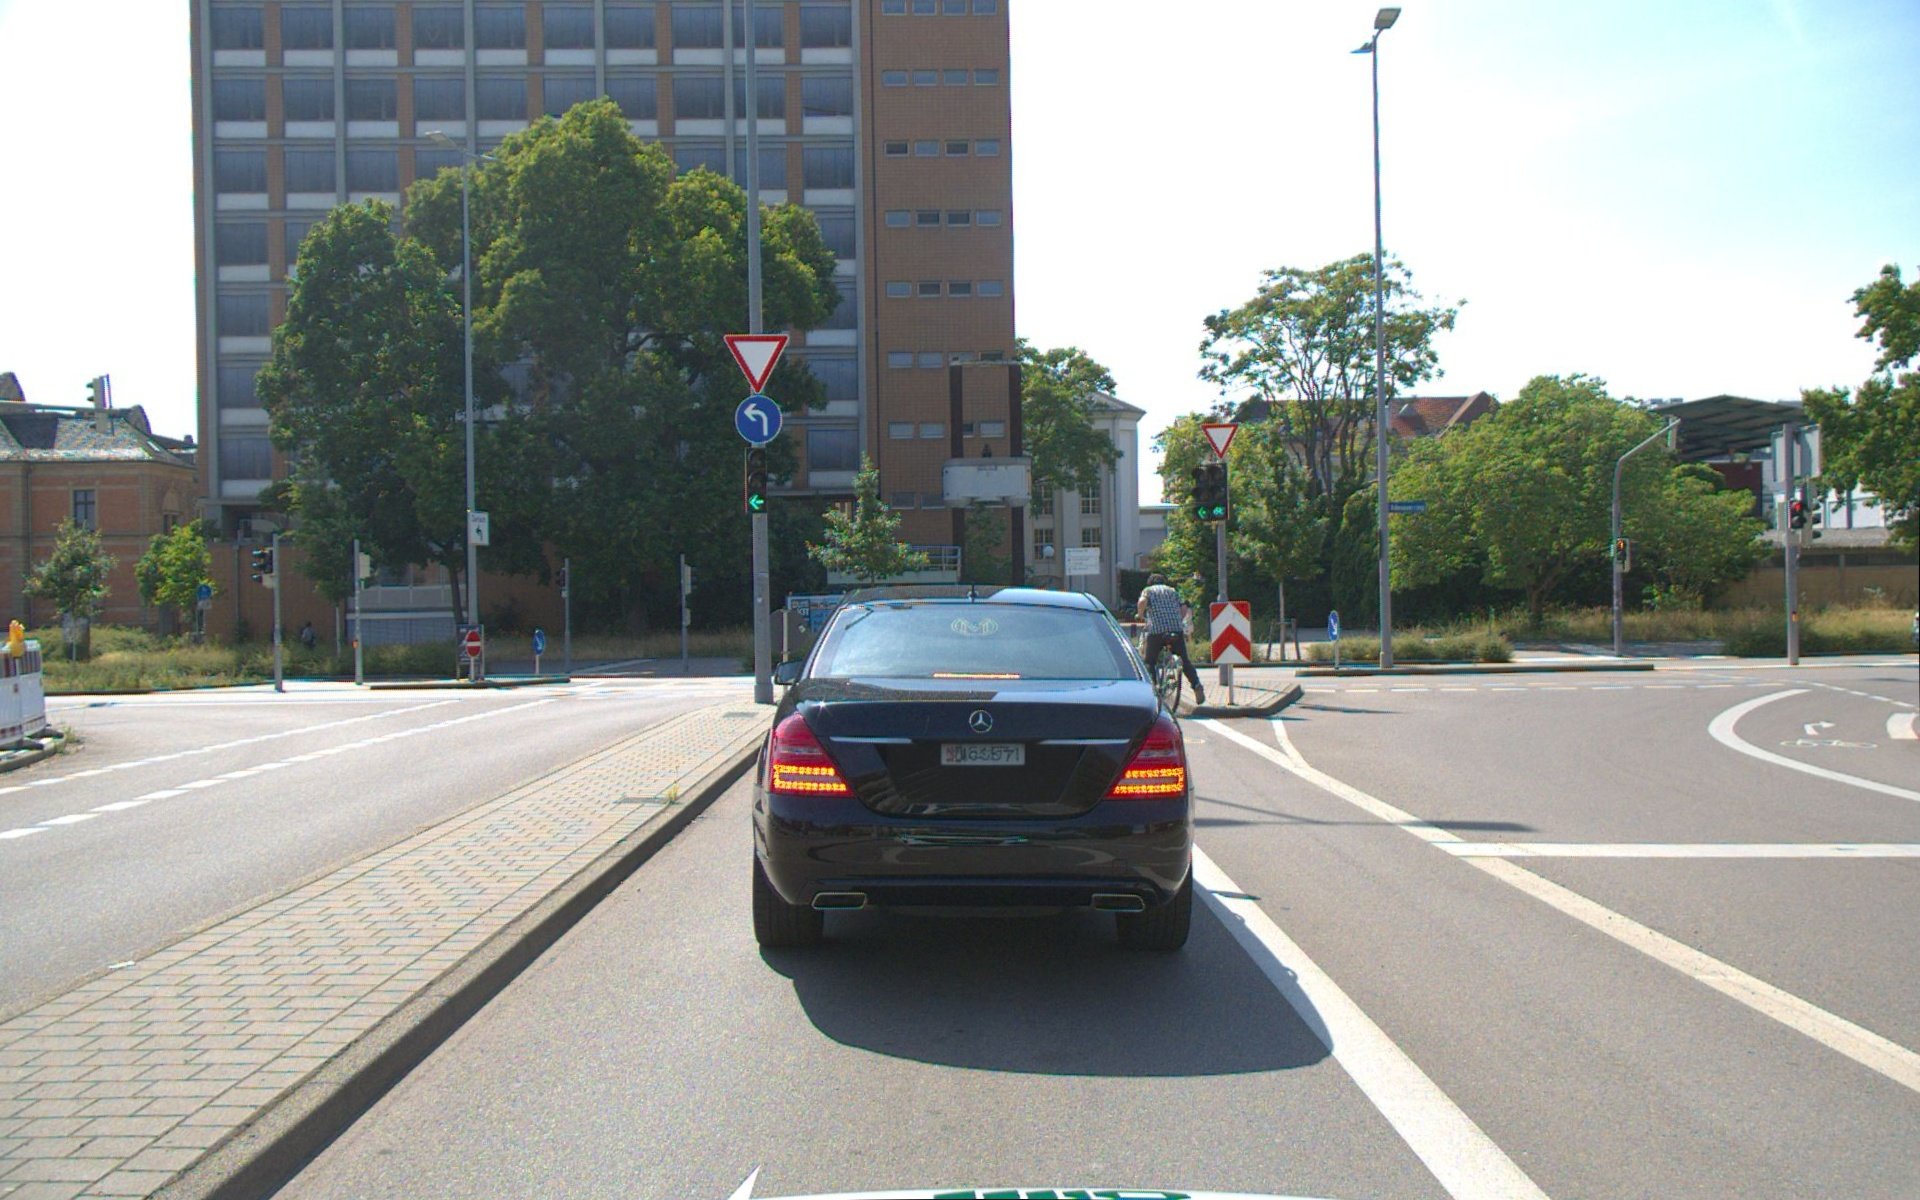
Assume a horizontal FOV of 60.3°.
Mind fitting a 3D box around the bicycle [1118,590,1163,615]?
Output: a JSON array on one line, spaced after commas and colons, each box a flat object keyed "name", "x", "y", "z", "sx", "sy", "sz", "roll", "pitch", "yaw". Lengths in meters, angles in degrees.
[{"name": "bicycle", "x": 11.599, "y": 0.131, "z": 106.263, "sx": 2.765, "sy": 1.506, "sz": 0.841, "roll": -2, "pitch": 0, "yaw": 0}]

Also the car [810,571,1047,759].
[{"name": "car", "x": -0.287, "y": 0.551, "z": 15.802, "sx": 1.953, "sy": 1.534, "sz": 3.999, "roll": 1, "pitch": 0, "yaw": -1}]

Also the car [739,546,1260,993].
[{"name": "car", "x": 0.106, "y": 0.608, "z": 8.179, "sx": 1.821, "sy": 1.557, "sz": 4.712, "roll": 1, "pitch": 0, "yaw": -1}]

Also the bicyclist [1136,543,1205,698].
[{"name": "bicyclist", "x": 2.661, "y": 0.255, "z": 20.924, "sx": 0.673, "sy": 1.911, "sz": 0.858, "roll": 0, "pitch": 0, "yaw": -7}]

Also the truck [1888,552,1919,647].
[{"name": "truck", "x": 27.703, "y": -0.101, "z": 42.001, "sx": 6.881, "sy": 2.397, "sz": 2.413, "roll": -2, "pitch": -2, "yaw": 0}]

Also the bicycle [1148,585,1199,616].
[{"name": "bicycle", "x": 12.292, "y": 0.018, "z": 95.358, "sx": 2.766, "sy": 1.678, "sz": 0.841, "roll": -2, "pitch": 0, "yaw": -2}]

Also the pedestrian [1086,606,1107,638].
[{"name": "pedestrian", "x": 5.270, "y": 0.853, "z": 63.829, "sx": 0.776, "sy": 1.235, "sz": 0.758, "roll": 1, "pitch": 0, "yaw": 6}]

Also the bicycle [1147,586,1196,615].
[{"name": "bicycle", "x": 12.477, "y": 0.039, "z": 97.631, "sx": 2.766, "sy": 1.615, "sz": 0.841, "roll": -2, "pitch": 0, "yaw": -2}]

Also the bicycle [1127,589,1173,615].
[{"name": "bicycle", "x": 12.012, "y": 0.133, "z": 104.723, "sx": 2.766, "sy": 1.526, "sz": 0.841, "roll": -2, "pitch": 0, "yaw": -2}]

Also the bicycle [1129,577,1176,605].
[{"name": "bicycle", "x": 11.927, "y": -0.559, "z": 102.325, "sx": 2.766, "sy": 1.586, "sz": 0.841, "roll": -2, "pitch": 0, "yaw": -2}]

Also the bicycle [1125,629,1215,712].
[{"name": "bicycle", "x": 2.644, "y": 0.877, "z": 21.043, "sx": 0.679, "sy": 0.963, "sz": 1.955, "roll": 1, "pitch": 0, "yaw": -7}]

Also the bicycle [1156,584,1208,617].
[{"name": "bicycle", "x": 12.591, "y": 0.024, "z": 93.969, "sx": 2.766, "sy": 1.775, "sz": 0.841, "roll": -2, "pitch": 0, "yaw": -2}]

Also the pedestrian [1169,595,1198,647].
[{"name": "pedestrian", "x": 7.083, "y": 0.672, "z": 52.380, "sx": 0.794, "sy": 1.607, "sz": 0.692, "roll": -1, "pitch": -1, "yaw": 1}]

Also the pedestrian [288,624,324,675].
[{"name": "pedestrian", "x": -23.232, "y": 1.760, "z": 58.771, "sx": 0.781, "sy": 1.756, "sz": 0.873, "roll": -2, "pitch": -1, "yaw": 22}]

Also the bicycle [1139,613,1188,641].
[{"name": "bicycle", "x": 12.119, "y": 1.626, "z": 98.378, "sx": 2.766, "sy": 1.564, "sz": 0.841, "roll": -2, "pitch": 0, "yaw": -2}]
